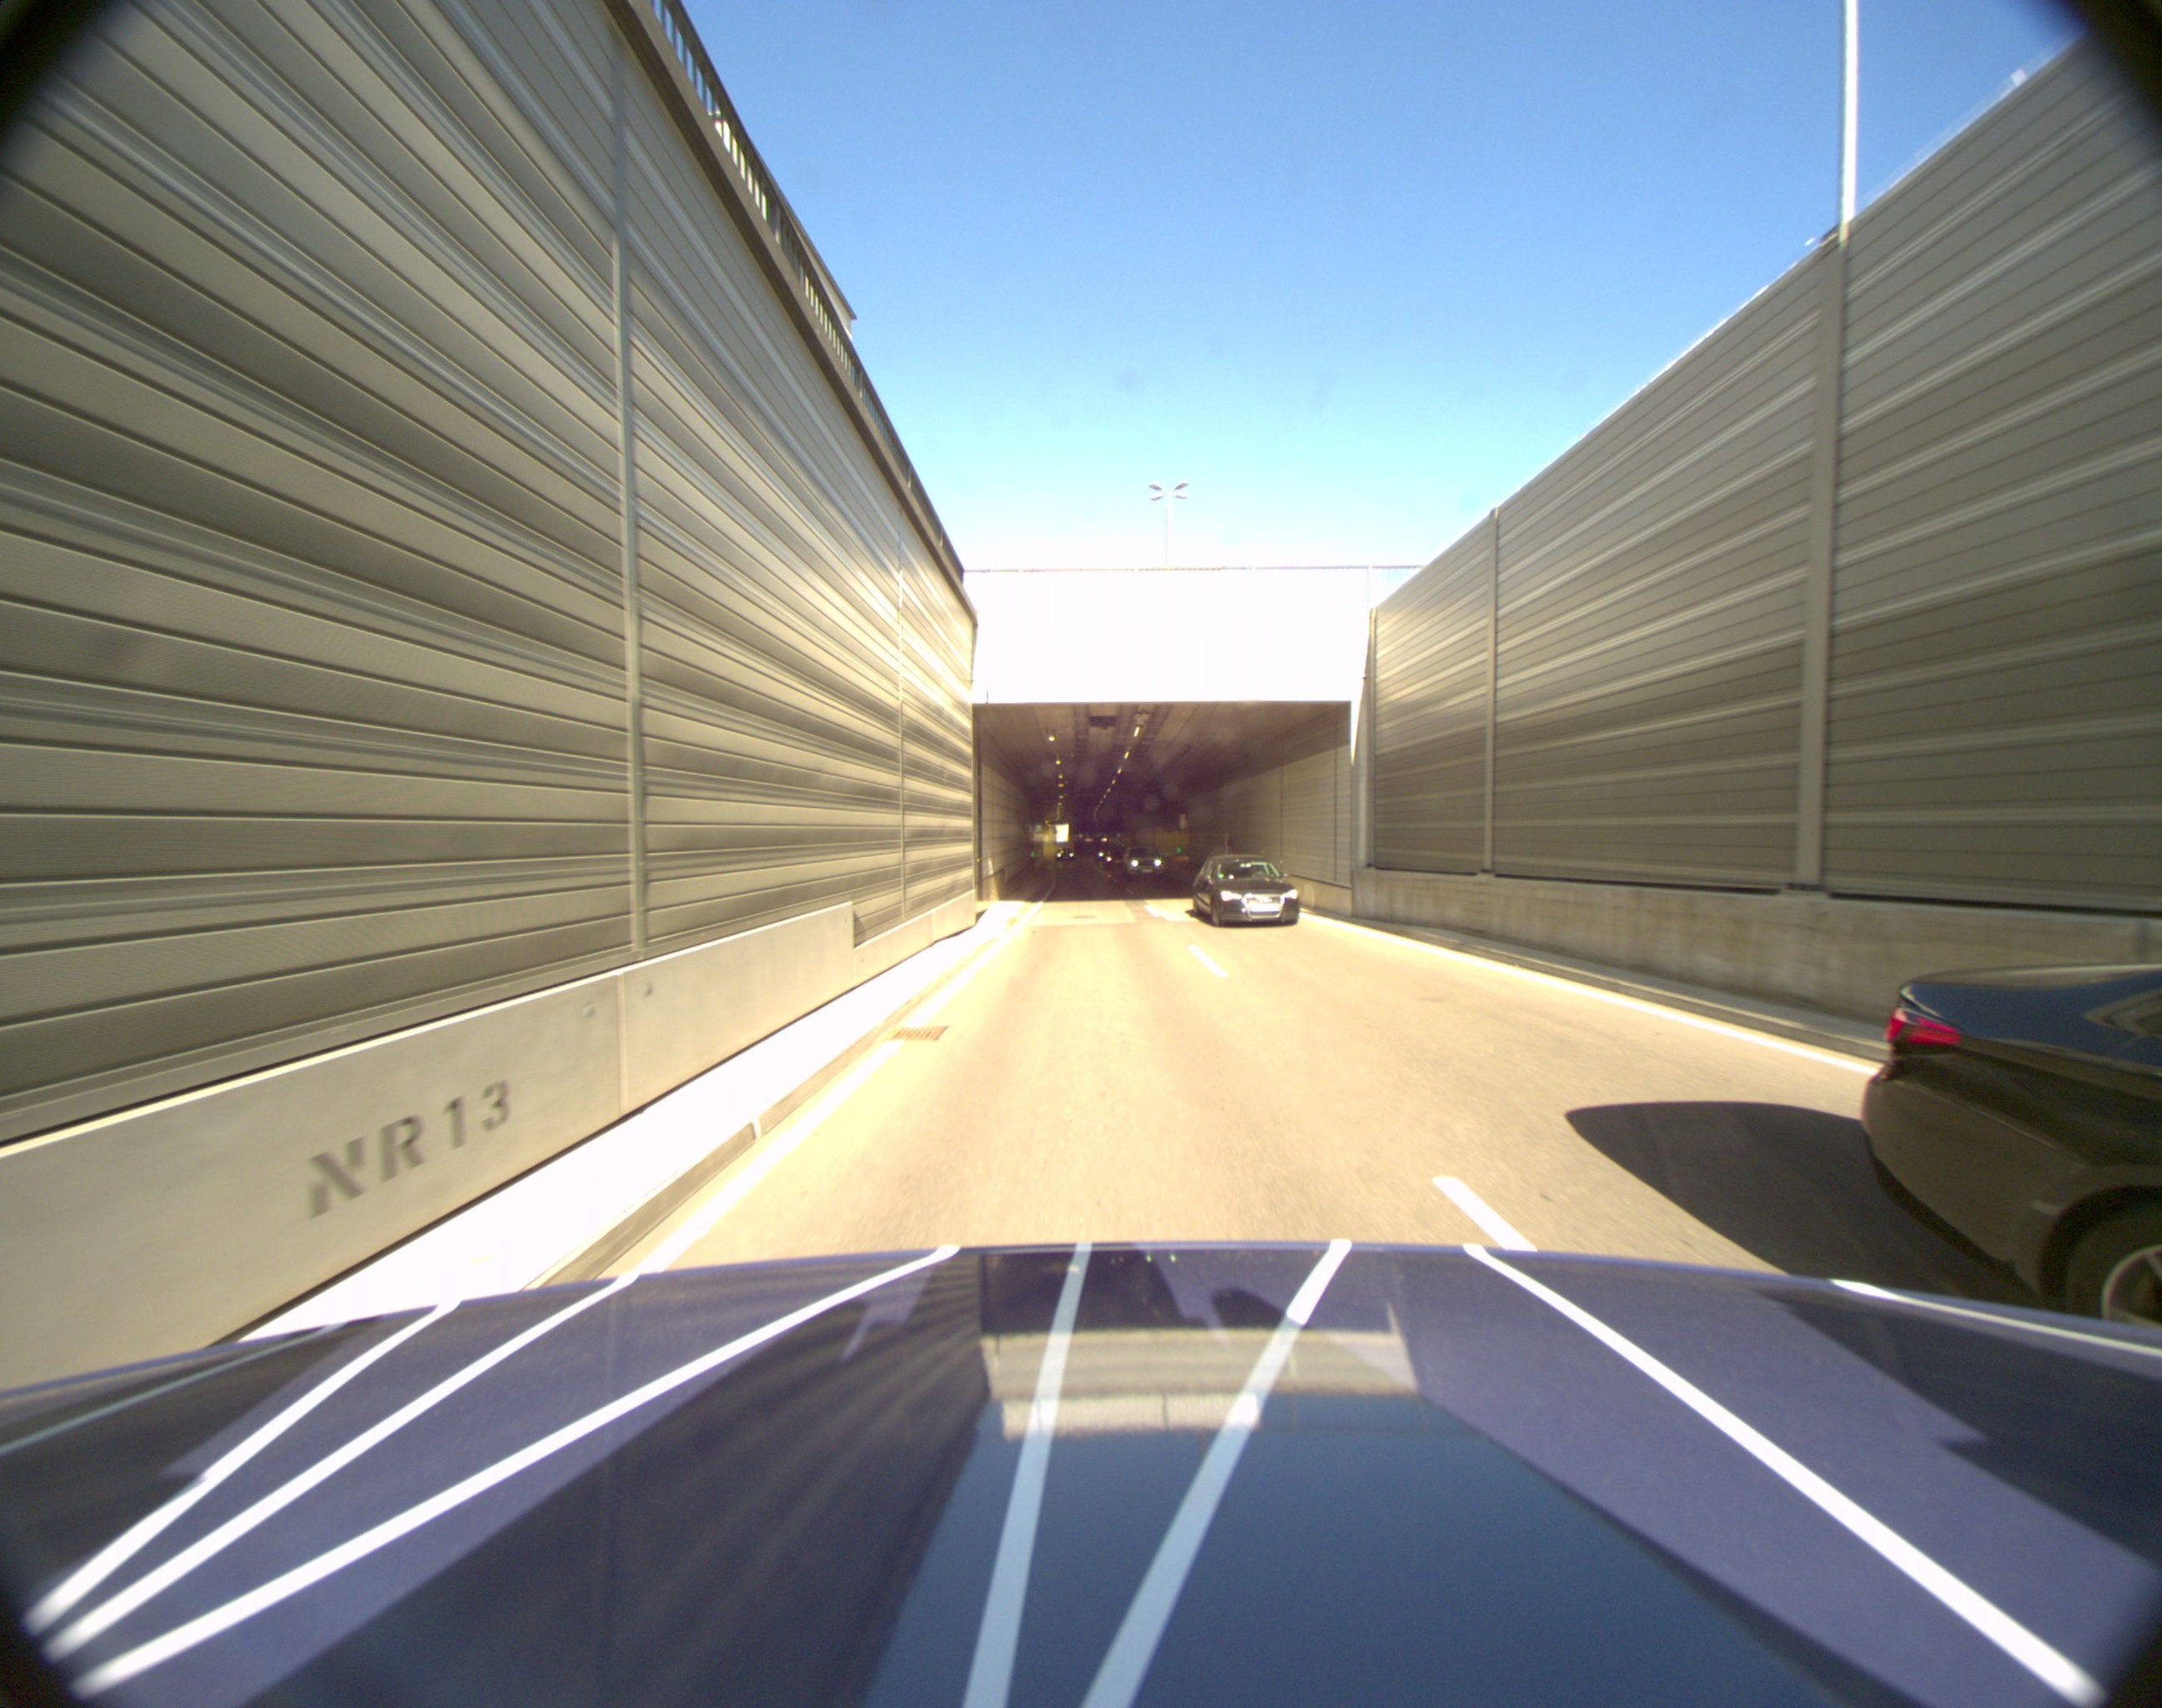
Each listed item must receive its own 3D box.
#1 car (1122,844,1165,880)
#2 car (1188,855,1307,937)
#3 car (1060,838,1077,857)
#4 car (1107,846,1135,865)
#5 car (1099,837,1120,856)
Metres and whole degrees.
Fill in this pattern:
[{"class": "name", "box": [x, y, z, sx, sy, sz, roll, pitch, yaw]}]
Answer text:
[{"class": "car", "box": [2.993, 0.356, 37.106, 1.854, 1.658, 3.970, -1, 0, 1]}, {"class": "car", "box": [3.418, 0.801, 16.320, 1.700, 1.410, 3.887, -2, 1, 1]}, {"class": "car", "box": [-1.399, -0.728, 86.092, 1.785, 2.002, 3.908, -2, 2, 0]}, {"class": "car", "box": [3.075, 0.095, 59.266, 1.998, 1.407, 4.000, -2, 0, 1]}, {"class": "car", "box": [3.151, -0.882, 84.714, 1.999, 2.002, 3.998, -2, 2, -1]}]
